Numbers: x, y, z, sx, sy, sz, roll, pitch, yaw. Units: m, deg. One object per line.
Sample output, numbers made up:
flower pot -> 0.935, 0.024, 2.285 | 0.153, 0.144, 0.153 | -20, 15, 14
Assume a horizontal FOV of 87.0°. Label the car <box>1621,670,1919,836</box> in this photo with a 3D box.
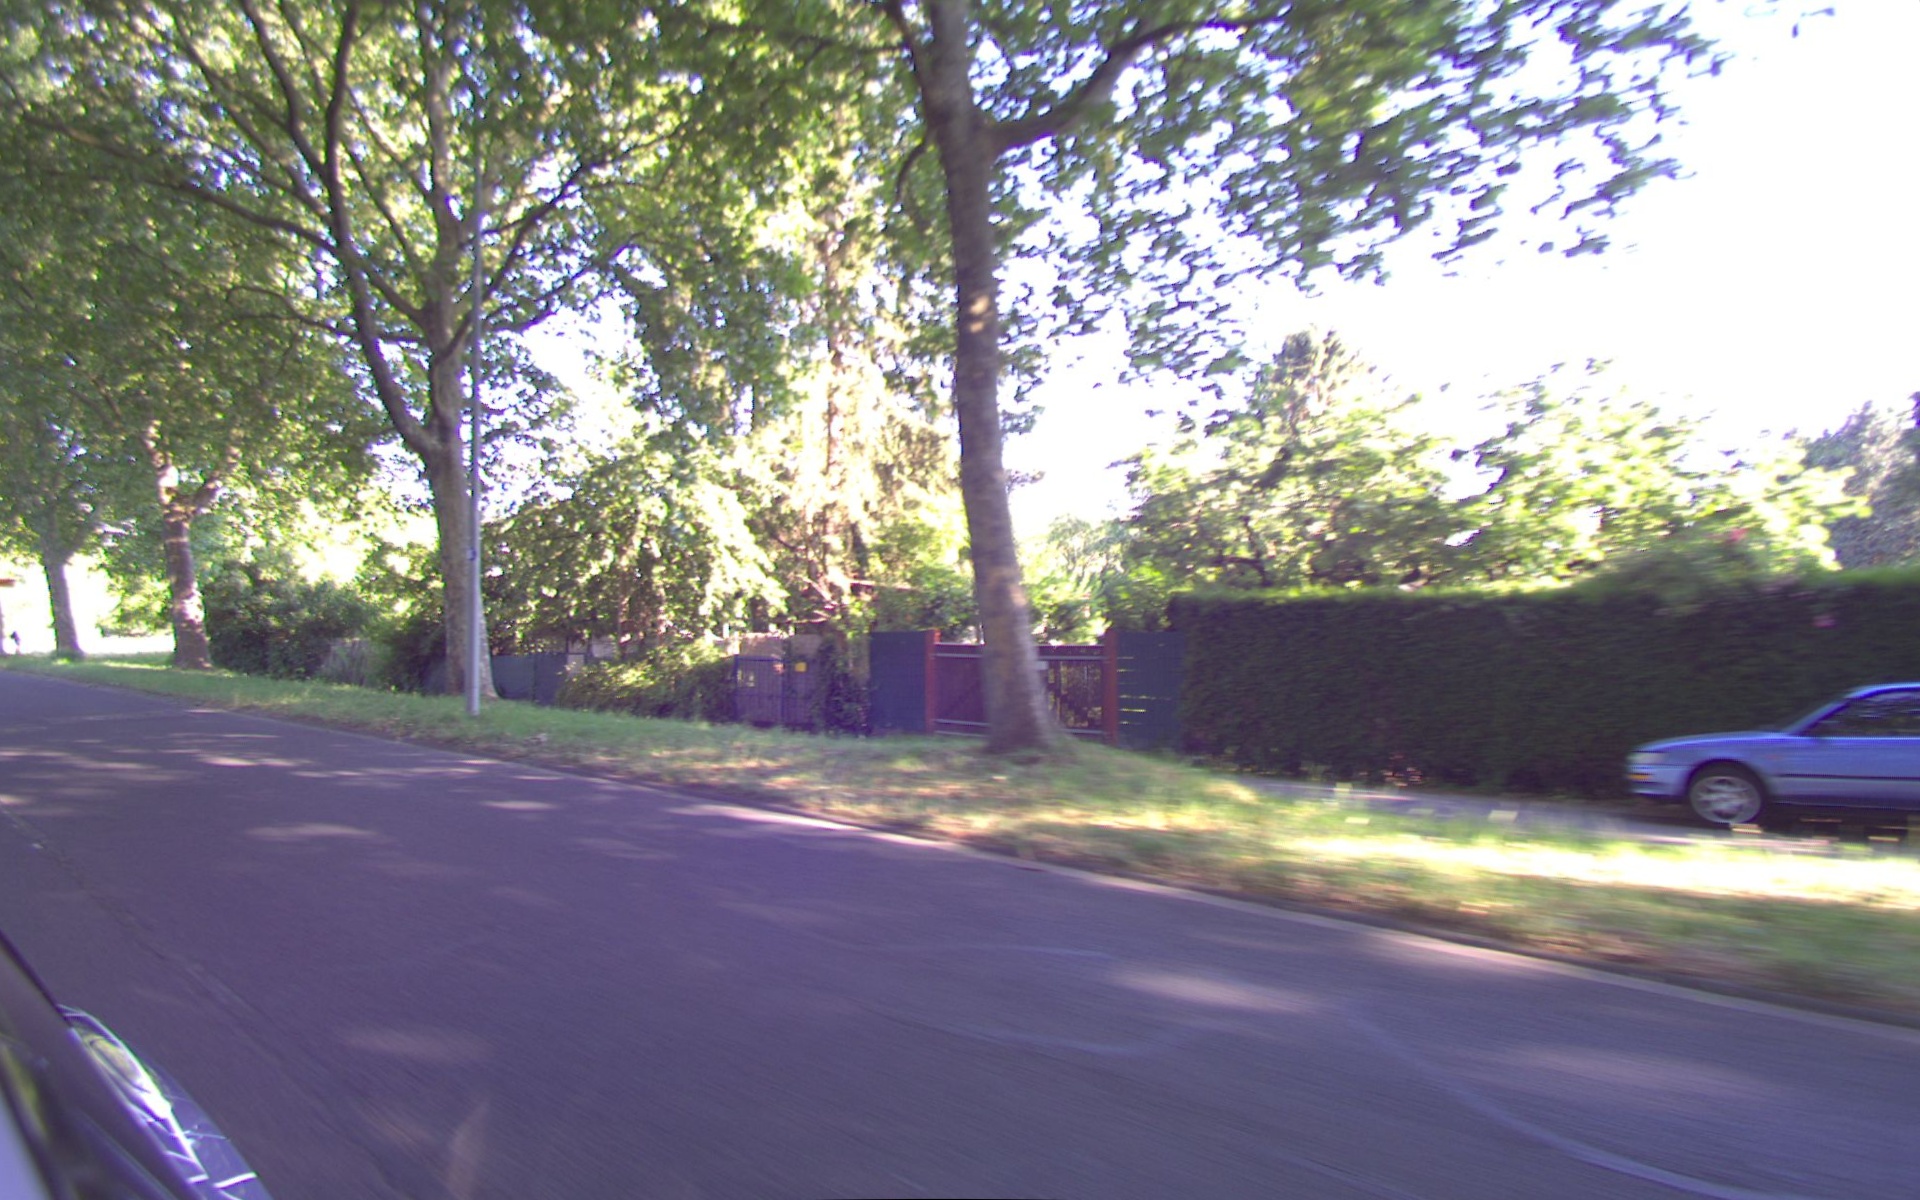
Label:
car -> 8.429, 1.323, 9.138 | 3.993, 1.314, 1.735 | -3, -3, 37
